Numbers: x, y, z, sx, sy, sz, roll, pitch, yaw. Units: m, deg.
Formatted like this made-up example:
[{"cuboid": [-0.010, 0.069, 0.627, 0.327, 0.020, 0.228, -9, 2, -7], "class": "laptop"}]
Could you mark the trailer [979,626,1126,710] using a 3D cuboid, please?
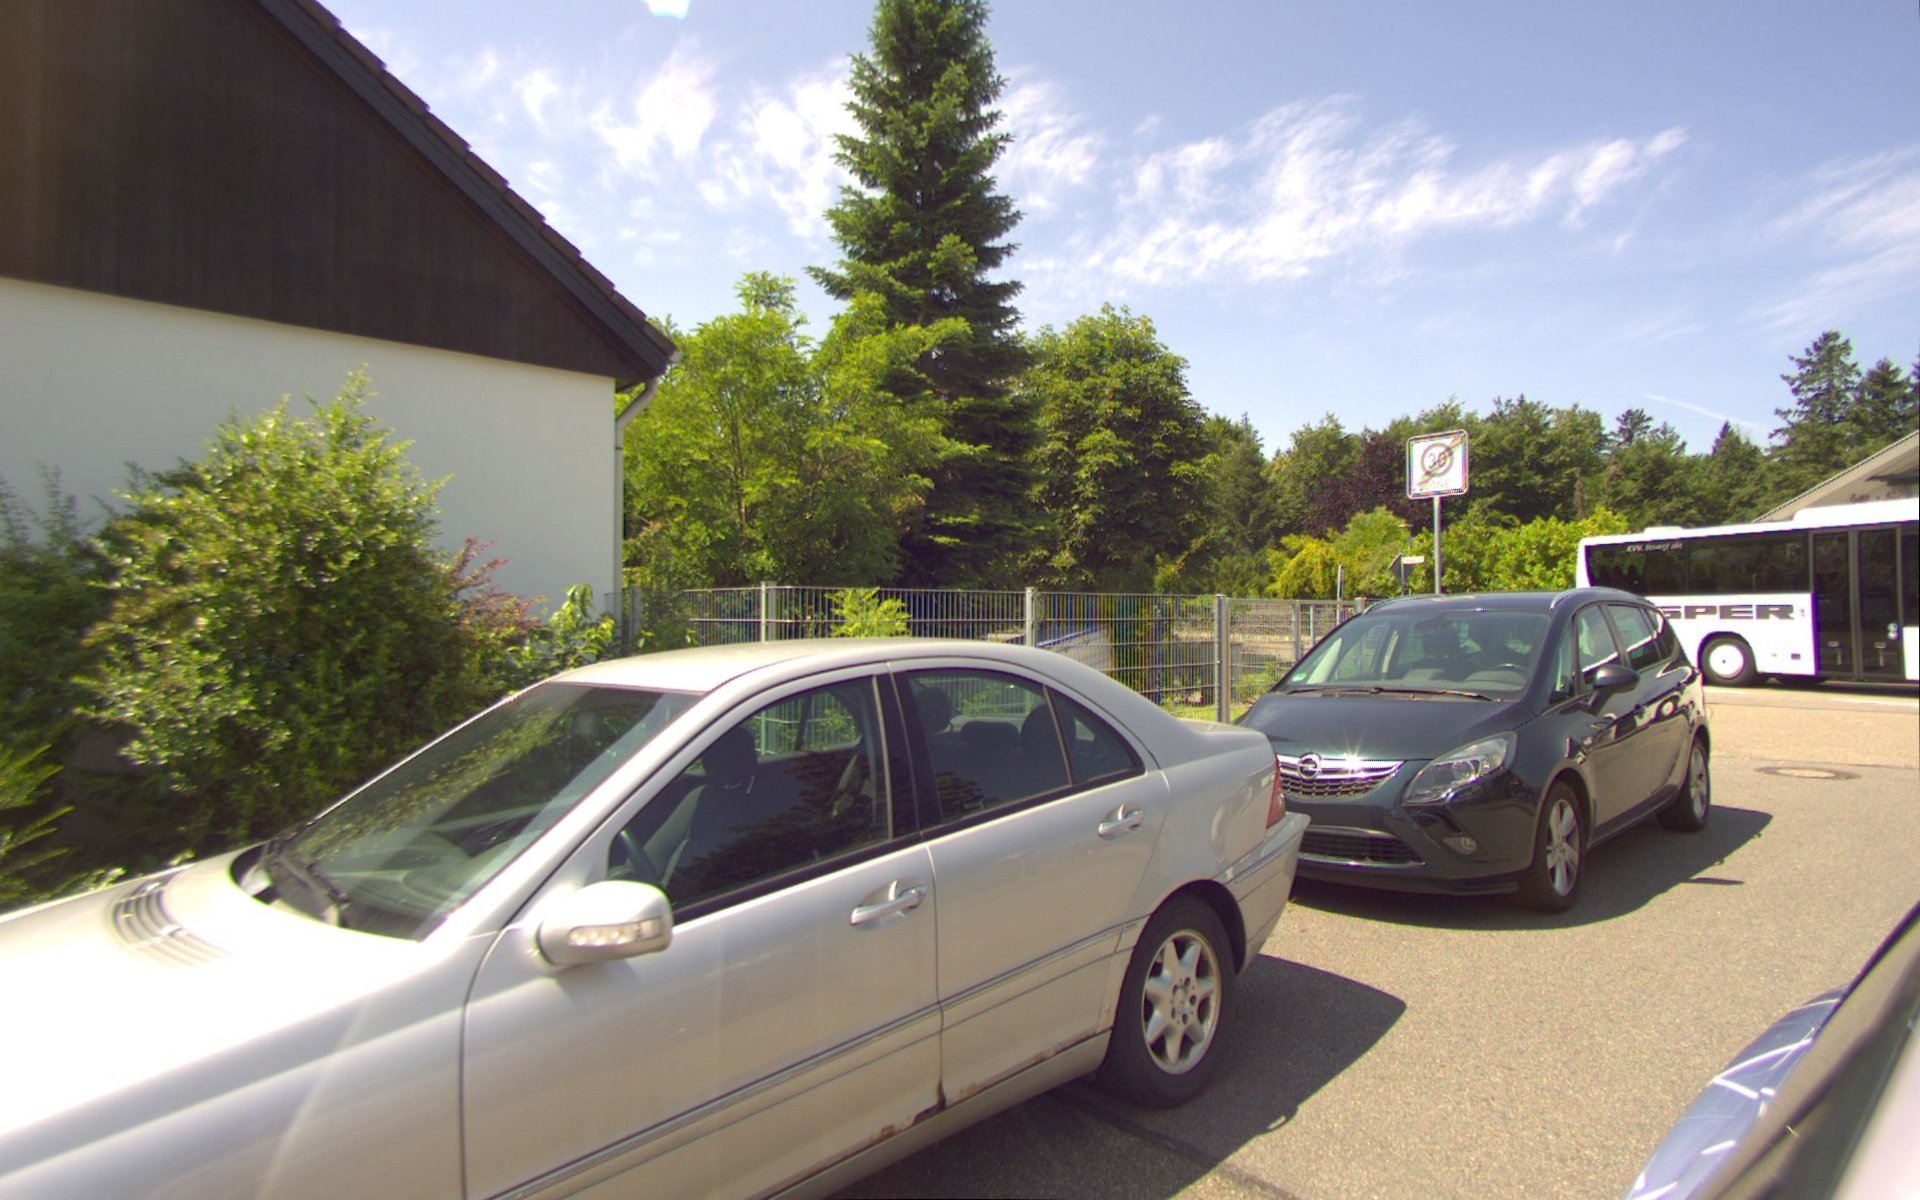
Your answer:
[{"cuboid": [1.392, 0.953, 14.839, 1.101, 1.098, 2.189, -1, -1, 40], "class": "trailer"}]

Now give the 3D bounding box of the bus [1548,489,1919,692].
[{"cuboid": [16.799, -0.142, 17.501, 3.124, 3.286, 12.735, 0, -1, -17], "class": "bus"}]

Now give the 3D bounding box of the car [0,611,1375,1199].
[{"cuboid": [-0.657, 0.776, 2.895, 4.261, 1.478, 1.689, 1, -1, -41], "class": "car"}]

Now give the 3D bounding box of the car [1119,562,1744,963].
[{"cuboid": [3.272, 0.711, 6.527, 4.600, 1.683, 1.966, 1, -1, -41], "class": "car"}]
